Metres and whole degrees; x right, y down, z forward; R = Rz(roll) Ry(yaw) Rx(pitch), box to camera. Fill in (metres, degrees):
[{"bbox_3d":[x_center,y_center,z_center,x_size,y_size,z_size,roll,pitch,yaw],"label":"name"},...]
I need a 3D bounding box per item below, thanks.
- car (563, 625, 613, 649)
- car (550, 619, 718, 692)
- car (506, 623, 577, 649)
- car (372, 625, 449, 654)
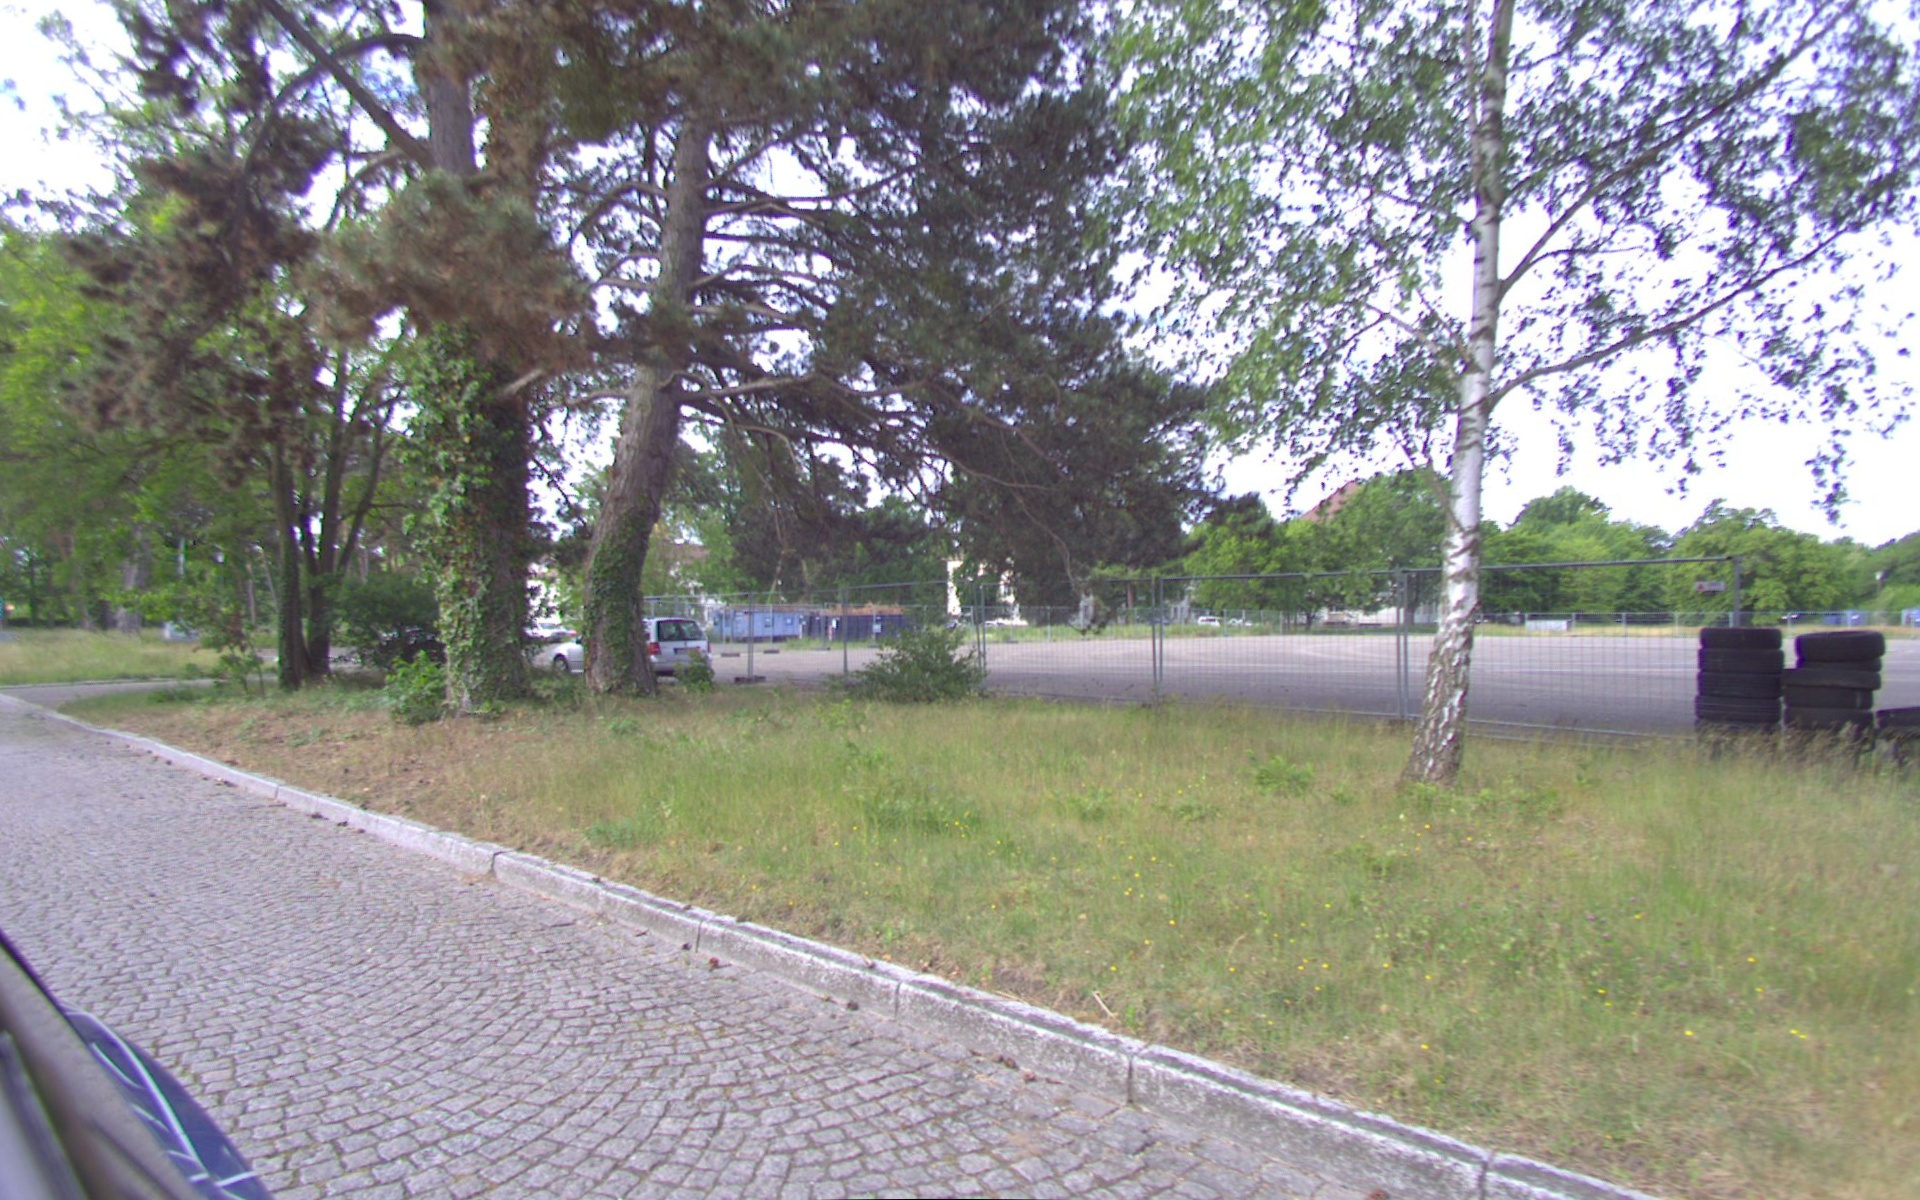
[{"bbox_3d":[-27.135,2.661,73.805,3.796,1.696,1.592,-1,-2,35],"label":"car"},{"bbox_3d":[-7.025,1.141,21.683,3.718,1.421,1.649,-2,-2,38],"label":"car"},{"bbox_3d":[-25.025,2.128,60.526,4.445,1.460,1.975,-1,-2,37],"label":"car"},{"bbox_3d":[-29.224,2.072,53.759,4.445,1.460,1.975,-1,-2,37],"label":"car"}]
